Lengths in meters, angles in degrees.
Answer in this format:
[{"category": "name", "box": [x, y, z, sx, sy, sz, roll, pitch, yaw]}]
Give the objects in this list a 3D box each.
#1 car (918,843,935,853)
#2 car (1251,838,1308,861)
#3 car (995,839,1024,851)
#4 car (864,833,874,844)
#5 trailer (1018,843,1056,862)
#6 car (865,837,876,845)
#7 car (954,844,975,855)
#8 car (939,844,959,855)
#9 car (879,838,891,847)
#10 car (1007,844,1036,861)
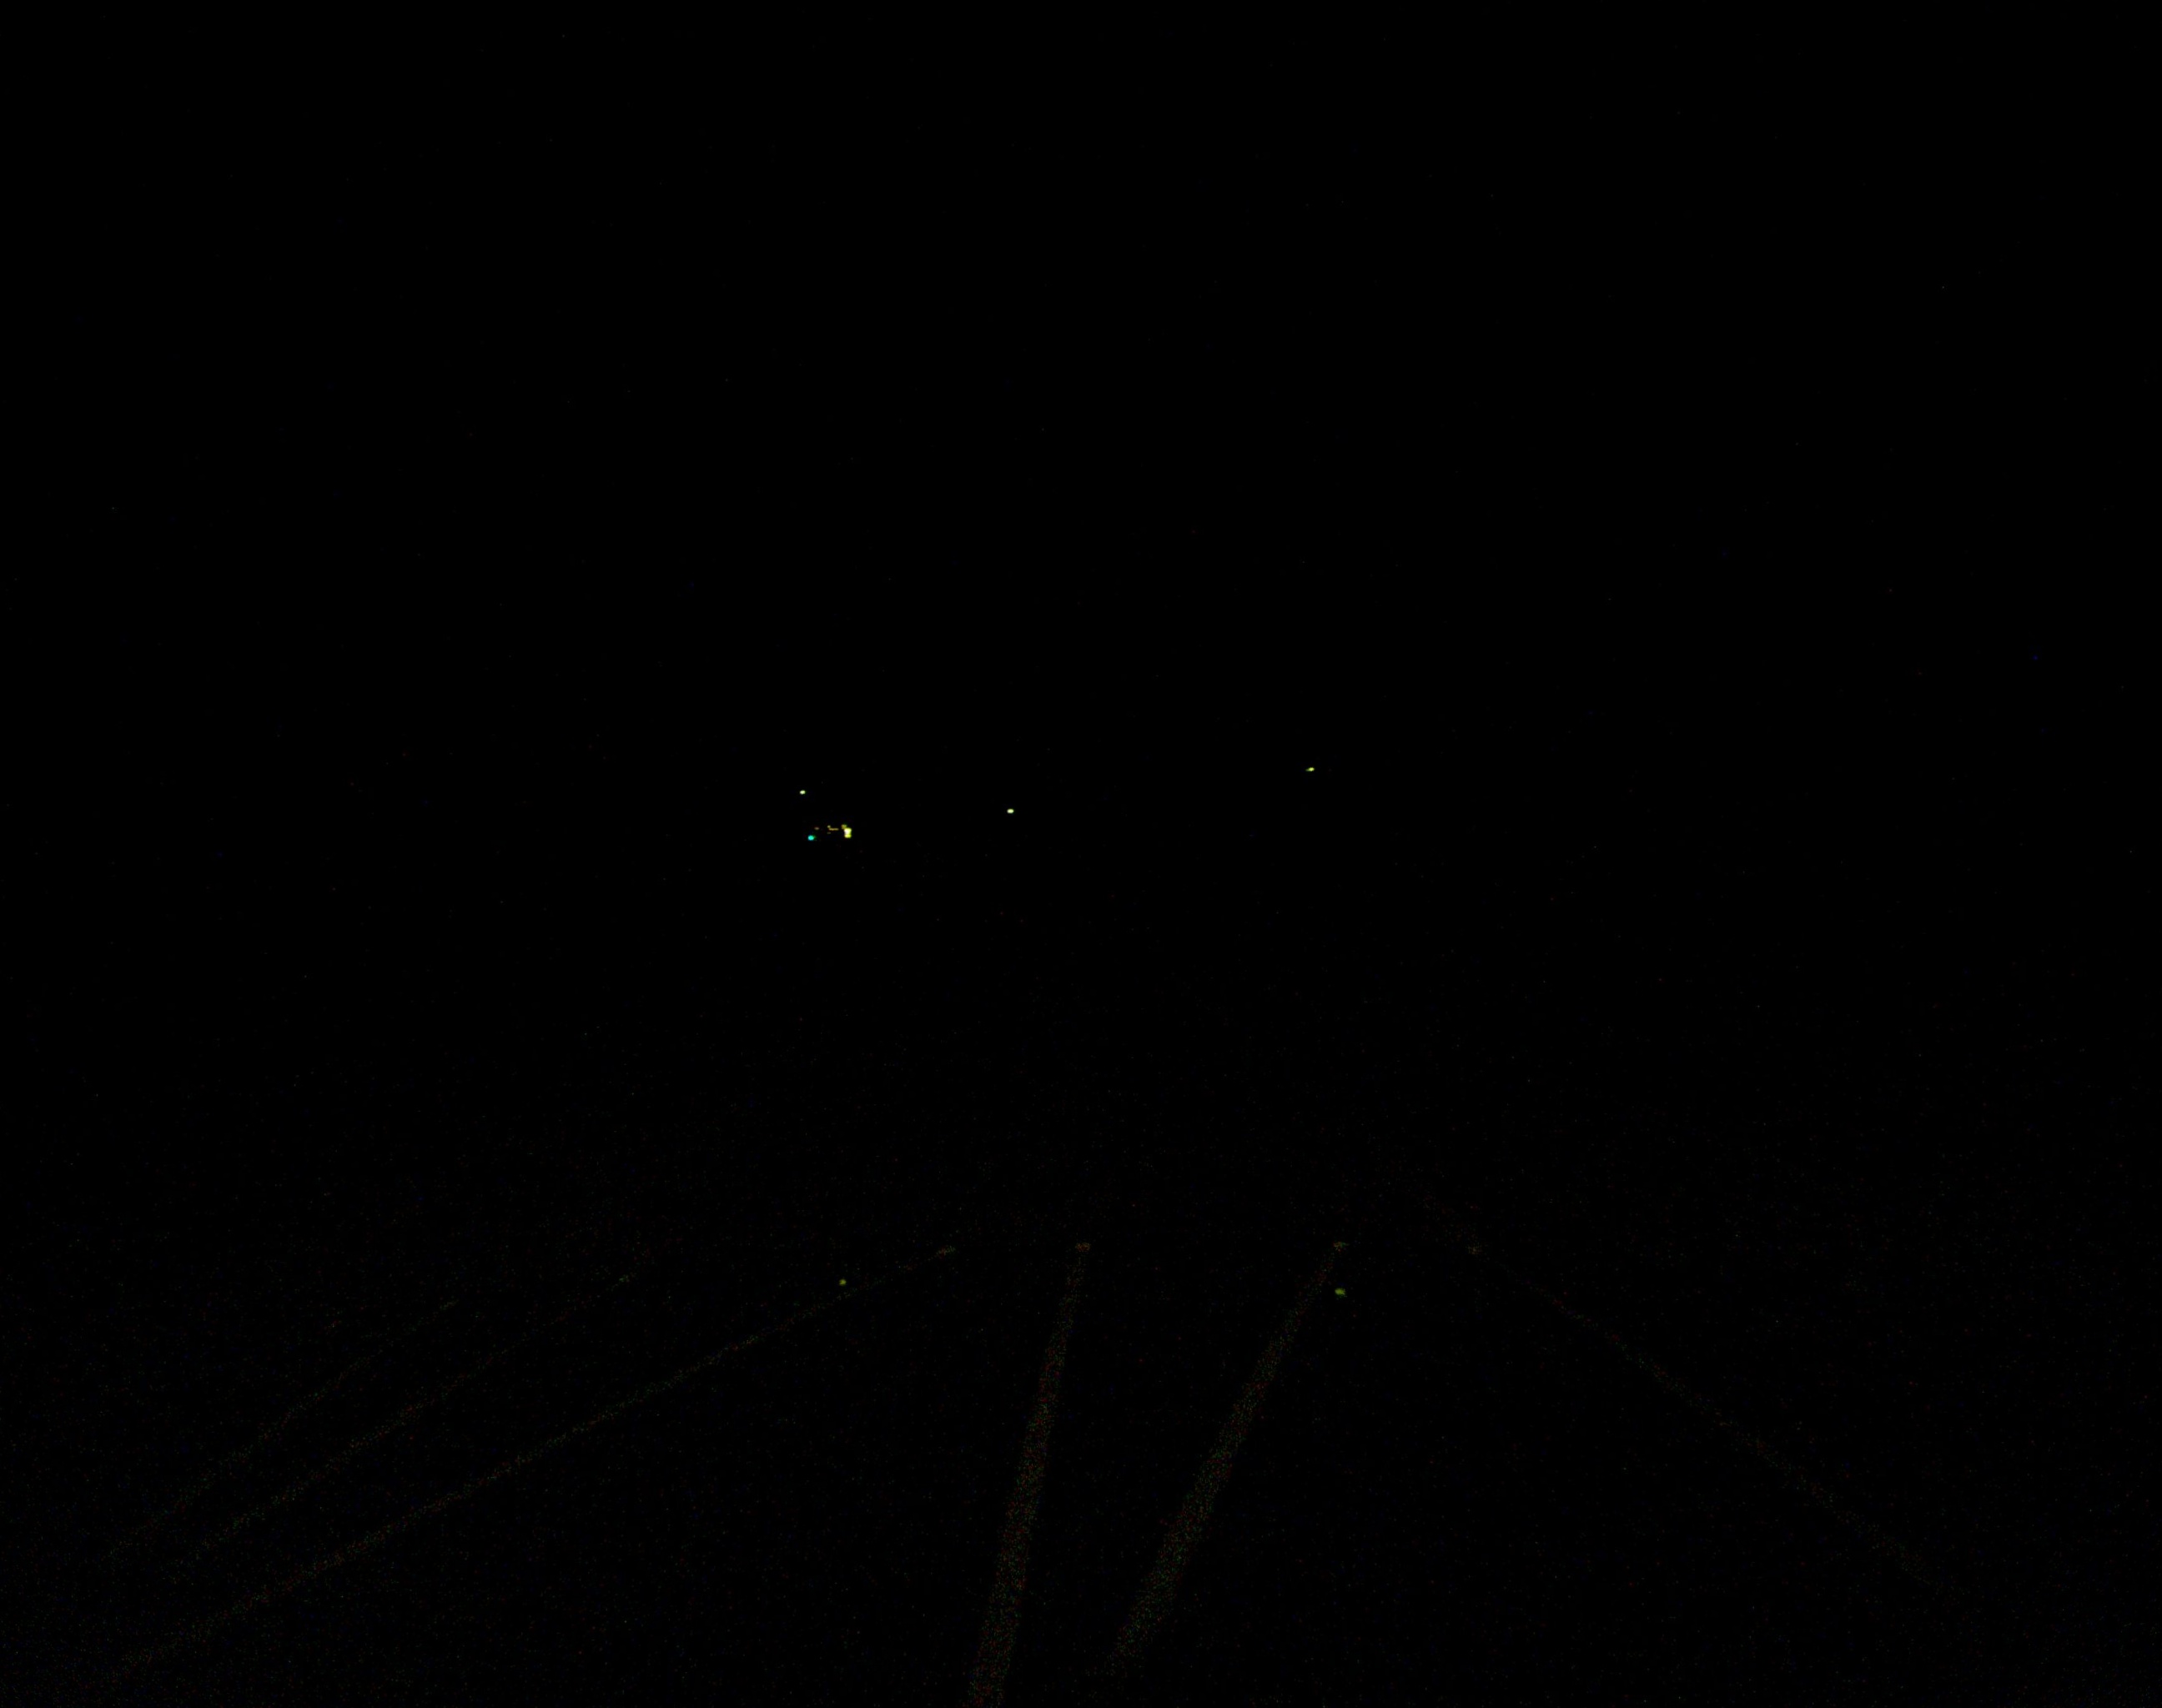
[{"category": "car", "box": [-25.455, -0.998, 125.316, 1.772, 1.559, 4.683, 3, 0, -22]}, {"category": "car", "box": [15.703, -0.366, 60.074, 4.003, 1.600, 1.753, -3, 3, -20]}, {"category": "car", "box": [-11.015, -1.437, 116.845, 4.004, 1.535, 1.885, -4, 3, -24]}, {"category": "car", "box": [-54.318, -3.966, 194.624, 2.169, 2.498, 4.710, 1, 2, -20]}, {"category": "trailer", "box": [-4.373, -0.160, 73.913, 2.033, 1.770, 5.662, 0, 1, -21]}, {"category": "car", "box": [-50.201, -3.189, 181.549, 2.129, 1.761, 4.710, 1, 1, -20]}, {"category": "car", "box": [-15.626, -0.570, 101.797, 1.736, 1.357, 4.136, 1, 1, -22]}, {"category": "car", "box": [-18.732, -0.657, 107.500, 1.908, 1.357, 4.973, 1, 1, -20]}, {"category": "car", "box": [-43.928, -2.559, 169.853, 2.129, 1.761, 4.710, 1, 1, -20]}, {"category": "car", "box": [-6.222, -0.194, 78.706, 1.724, 1.568, 4.525, 2, 1, -21]}]
